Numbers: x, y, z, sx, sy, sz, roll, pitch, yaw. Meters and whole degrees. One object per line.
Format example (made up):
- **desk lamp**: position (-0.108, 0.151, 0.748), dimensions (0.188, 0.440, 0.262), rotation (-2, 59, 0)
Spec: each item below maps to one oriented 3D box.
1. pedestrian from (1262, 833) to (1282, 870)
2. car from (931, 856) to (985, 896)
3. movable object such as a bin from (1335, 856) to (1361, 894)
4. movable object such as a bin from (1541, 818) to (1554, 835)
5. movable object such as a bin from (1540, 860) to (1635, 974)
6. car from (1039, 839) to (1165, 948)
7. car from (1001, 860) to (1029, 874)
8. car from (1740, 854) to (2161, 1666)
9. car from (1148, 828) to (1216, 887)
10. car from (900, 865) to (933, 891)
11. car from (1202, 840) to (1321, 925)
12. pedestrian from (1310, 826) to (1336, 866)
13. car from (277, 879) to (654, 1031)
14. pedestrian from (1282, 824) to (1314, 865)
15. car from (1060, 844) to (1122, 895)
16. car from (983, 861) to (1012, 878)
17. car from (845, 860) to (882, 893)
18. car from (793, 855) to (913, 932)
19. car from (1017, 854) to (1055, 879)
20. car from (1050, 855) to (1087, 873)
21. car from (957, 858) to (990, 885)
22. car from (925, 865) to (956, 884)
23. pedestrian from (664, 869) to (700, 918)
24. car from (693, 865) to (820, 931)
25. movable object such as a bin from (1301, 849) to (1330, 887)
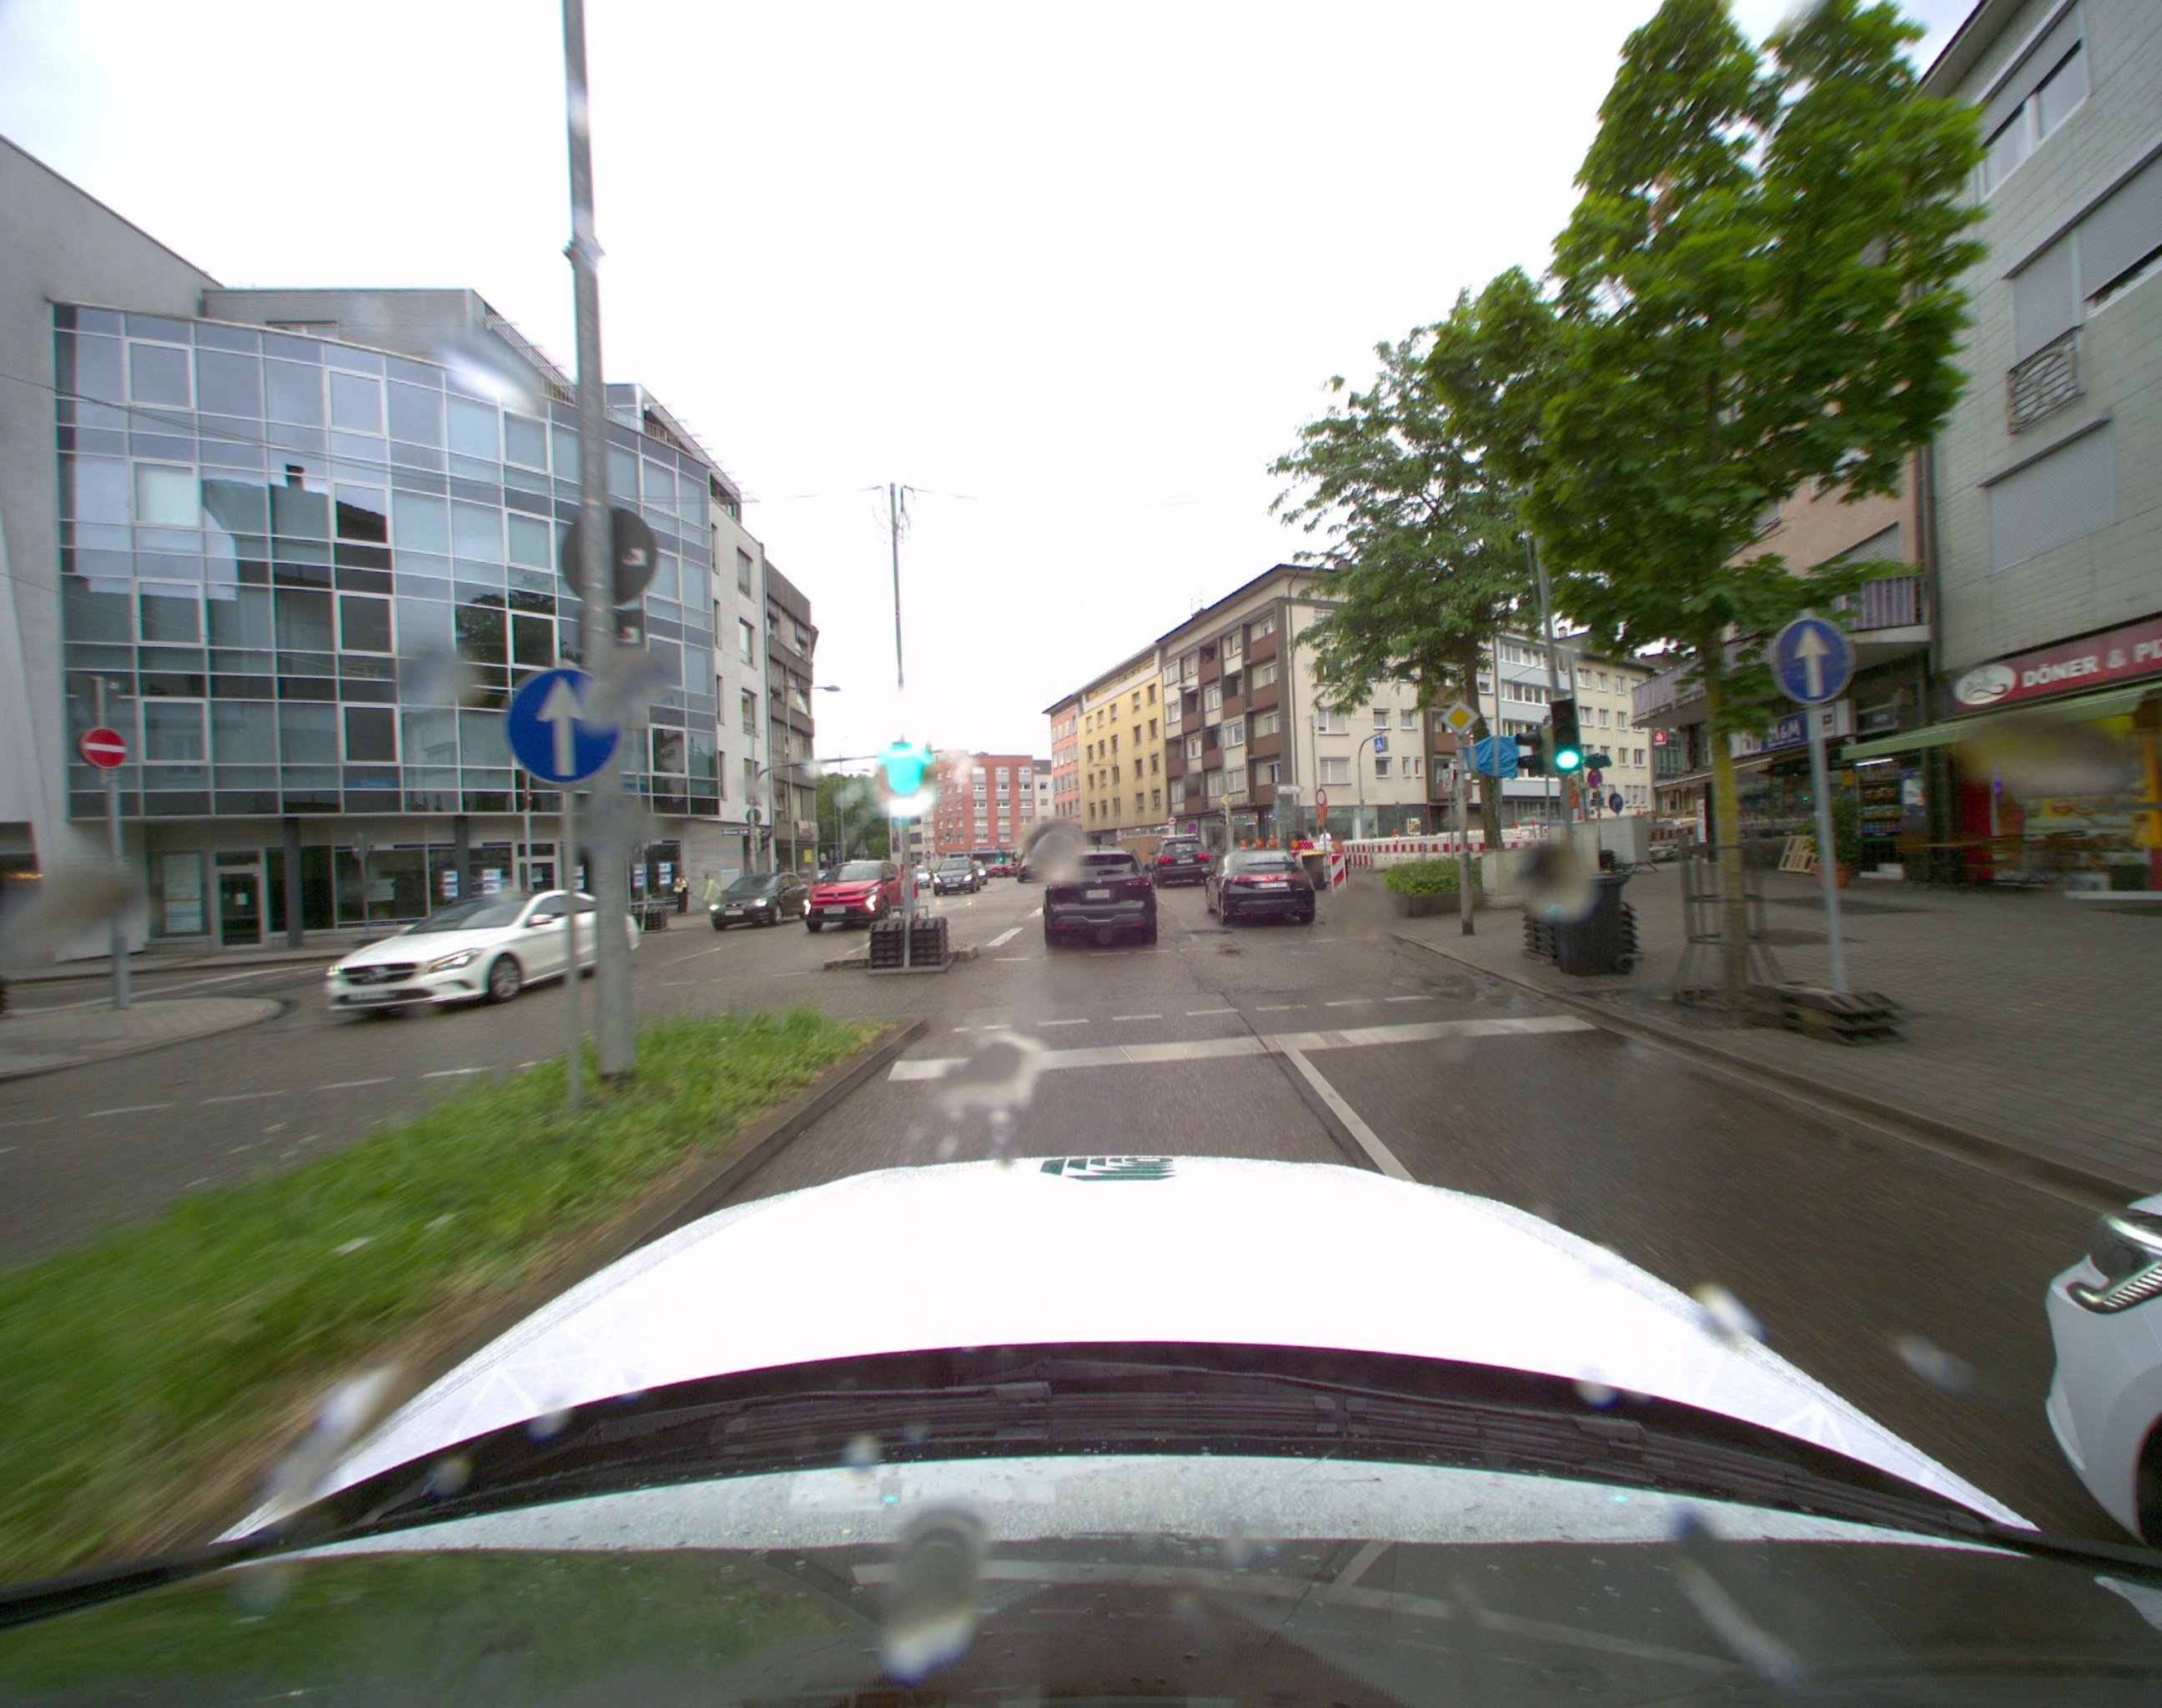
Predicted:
- **pedestrian**: position (9.231, -0.118, 39.380), dimensions (0.786, 1.688, 0.824), rotation (-5, -2, 15)
- **car**: position (-5.446, 0.925, 36.541), dimensions (1.825, 1.543, 4.280), rotation (-3, 0, -2)
- **movable object such as a bin**: position (6.843, 0.532, 20.889), dimensions (0.418, 0.929, 0.531), rotation (-4, 1, -1)
- **movable object such as a bin**: position (30.364, -1.774, 52.957), dimensions (0.541, 1.048, 0.526), rotation (0, -1, -31)
- **movable object such as a bin**: position (5.418, 0.660, 8.750), dimensions (0.575, 1.111, 0.666), rotation (-5, 1, 6)
- **car**: position (0.343, 0.606, 14.478), dimensions (1.888, 1.629, 4.000), rotation (-2, 0, 0)
- **car**: position (-7.054, 1.383, 87.086), dimensions (2.000, 1.519, 3.973), rotation (0, -1, -20)
- **car**: position (2.748, 0.728, 0.338), dimensions (1.671, 1.403, 4.000), rotation (-4, 0, 1)
- **car**: position (3.617, 0.097, 29.994), dimensions (2.013, 1.869, 4.903), rotation (-4, 1, 3)
- **car**: position (-10.781, 1.541, 53.346), dimensions (1.930, 1.474, 4.584), rotation (-5, 0, -12)
- **car**: position (3.567, 0.516, 16.801), dimensions (1.776, 1.497, 4.060), rotation (-1, 0, 4)
- **pedestrian**: position (11.777, -0.412, 39.585), dimensions (0.999, 1.879, 0.649), rotation (-2, -3, -45)
- **car**: position (-8.320, 1.235, 11.721), dimensions (1.839, 1.417, 4.613), rotation (-5, 0, -1)
- **pedestrian**: position (10.326, -0.453, 38.751), dimensions (0.924, 1.861, 1.019), rotation (-2, -3, -41)
- **car**: position (0.454, 0.541, 31.160), dimensions (1.937, 1.684, 4.005), rotation (-4, 0, 5)
- **car**: position (-8.197, 1.521, 80.002), dimensions (1.999, 1.530, 3.974), rotation (0, -1, -19)
- **car**: position (-13.867, 1.478, 52.157), dimensions (2.121, 2.015, 5.104), rotation (0, -2, -14)
- **car**: position (-5.430, 0.871, 19.960), dimensions (1.842, 1.594, 4.087), rotation (-3, 0, -2)
- **car**: position (-2.664, 0.738, 47.539), dimensions (1.991, 1.388, 4.490), rotation (-1, -1, -6)
- **car**: position (-1.104, 0.867, 71.339), dimensions (2.001, 1.486, 3.972), rotation (0, -1, -21)
- **car**: position (-6.643, 1.062, 50.255), dimensions (1.852, 1.474, 4.635), rotation (-4, 0, -8)
- **car**: position (-12.460, 1.809, 72.013), dimensions (1.989, 1.459, 4.458), rotation (-5, 0, -18)
- **pedestrian**: position (-13.923, 1.373, 28.438), dimensions (0.618, 1.607, 0.837), rotation (-3, 0, 26)
- **car**: position (-8.826, 1.142, 22.550), dimensions (1.841, 1.497, 3.999), rotation (-3, 0, 0)
- **movable object such as a bin**: position (6.626, 0.392, 23.012), dimensions (0.619, 1.031, 0.531), rotation (-4, 1, -1)
